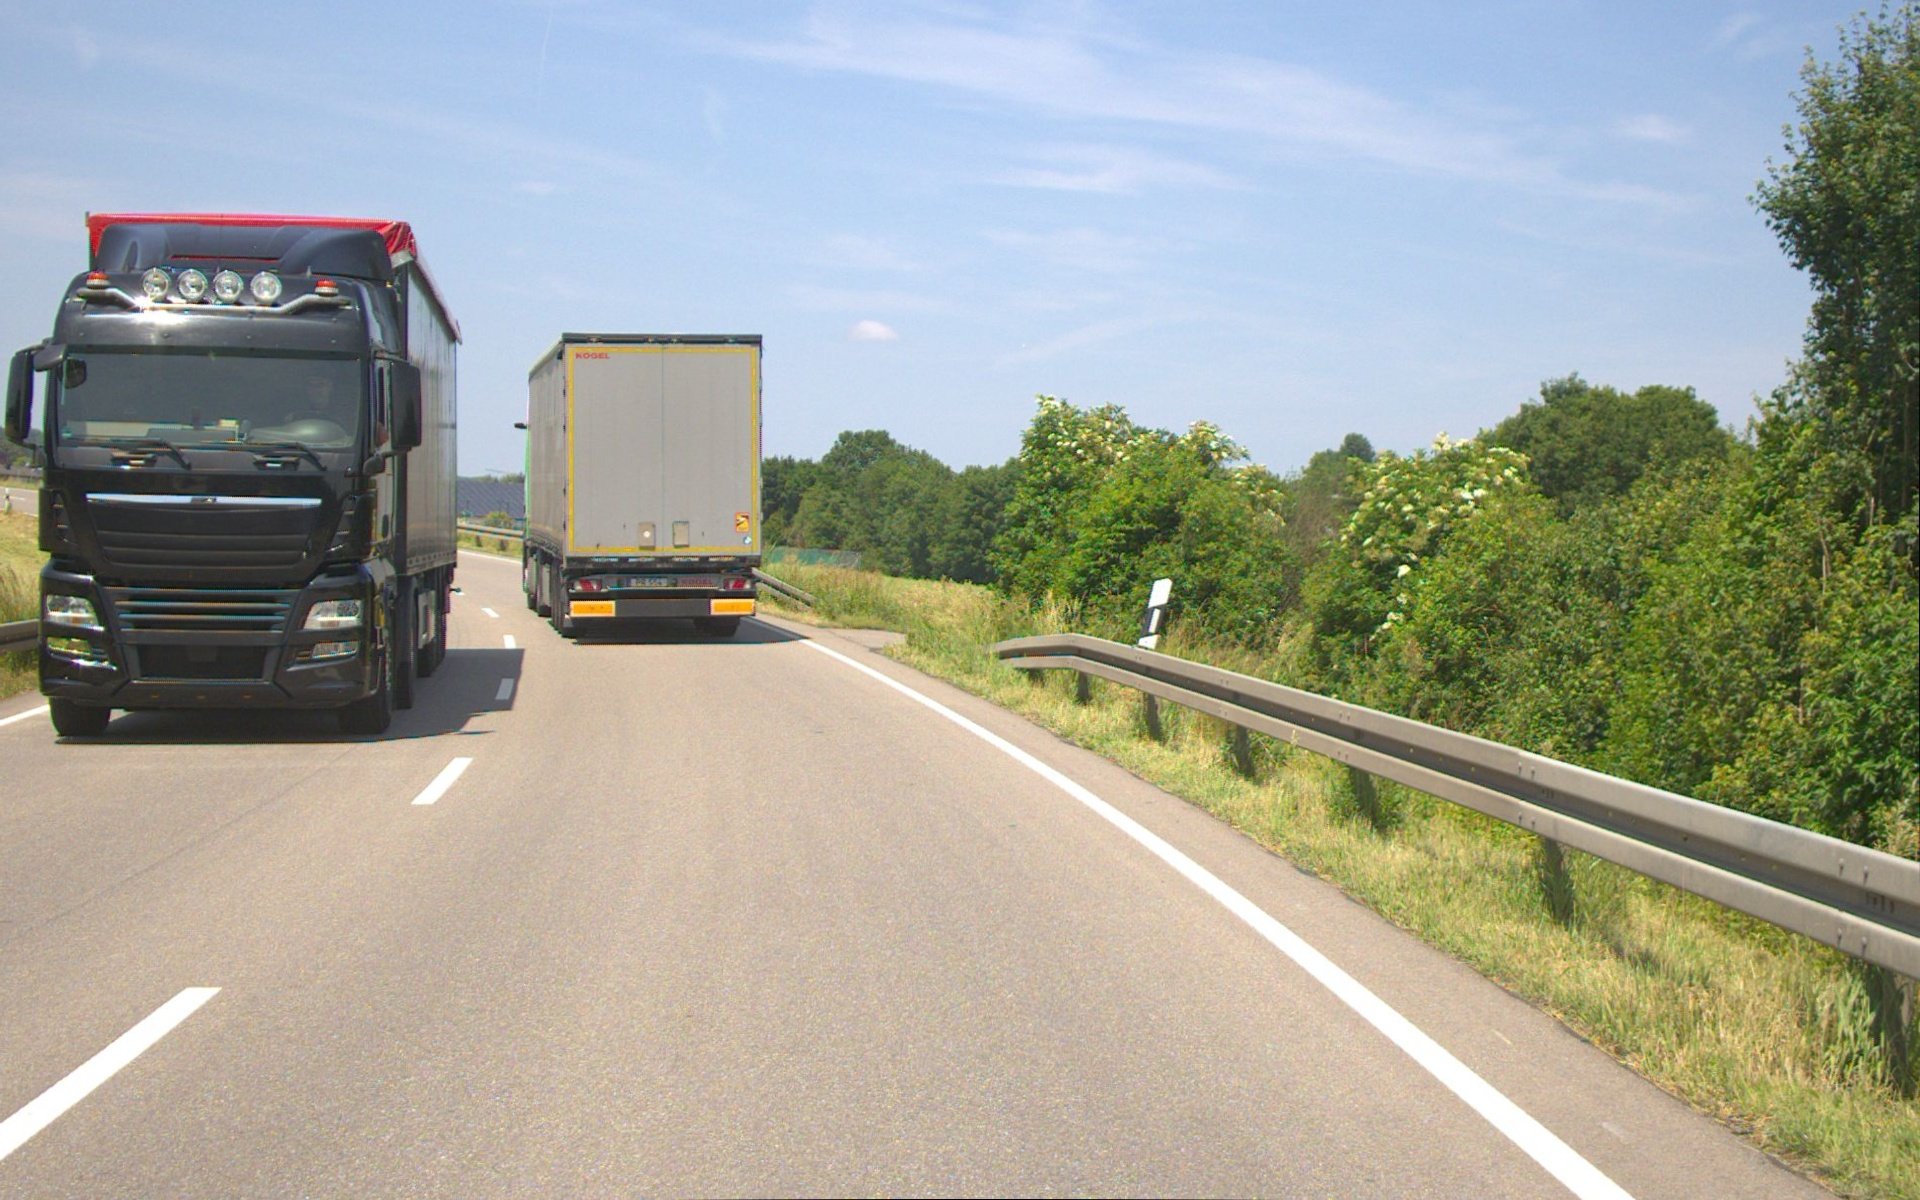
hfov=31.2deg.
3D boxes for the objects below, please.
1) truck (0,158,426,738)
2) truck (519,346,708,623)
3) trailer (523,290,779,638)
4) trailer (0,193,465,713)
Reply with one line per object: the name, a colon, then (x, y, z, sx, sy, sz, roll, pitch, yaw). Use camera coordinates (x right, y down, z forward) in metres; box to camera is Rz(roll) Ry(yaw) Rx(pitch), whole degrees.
truck: (-6.140, -1.154, 27.951, 3.240, 4.135, 6.653, 0, 1, -6)
truck: (-5.847, -1.877, 57.325, 2.858, 4.385, 5.072, 0, 1, -9)
trailer: (-4.765, -1.910, 50.265, 2.866, 4.385, 13.497, 0, 2, -9)
trailer: (-6.883, -1.358, 34.710, 3.240, 4.135, 14.447, 0, 2, -6)
